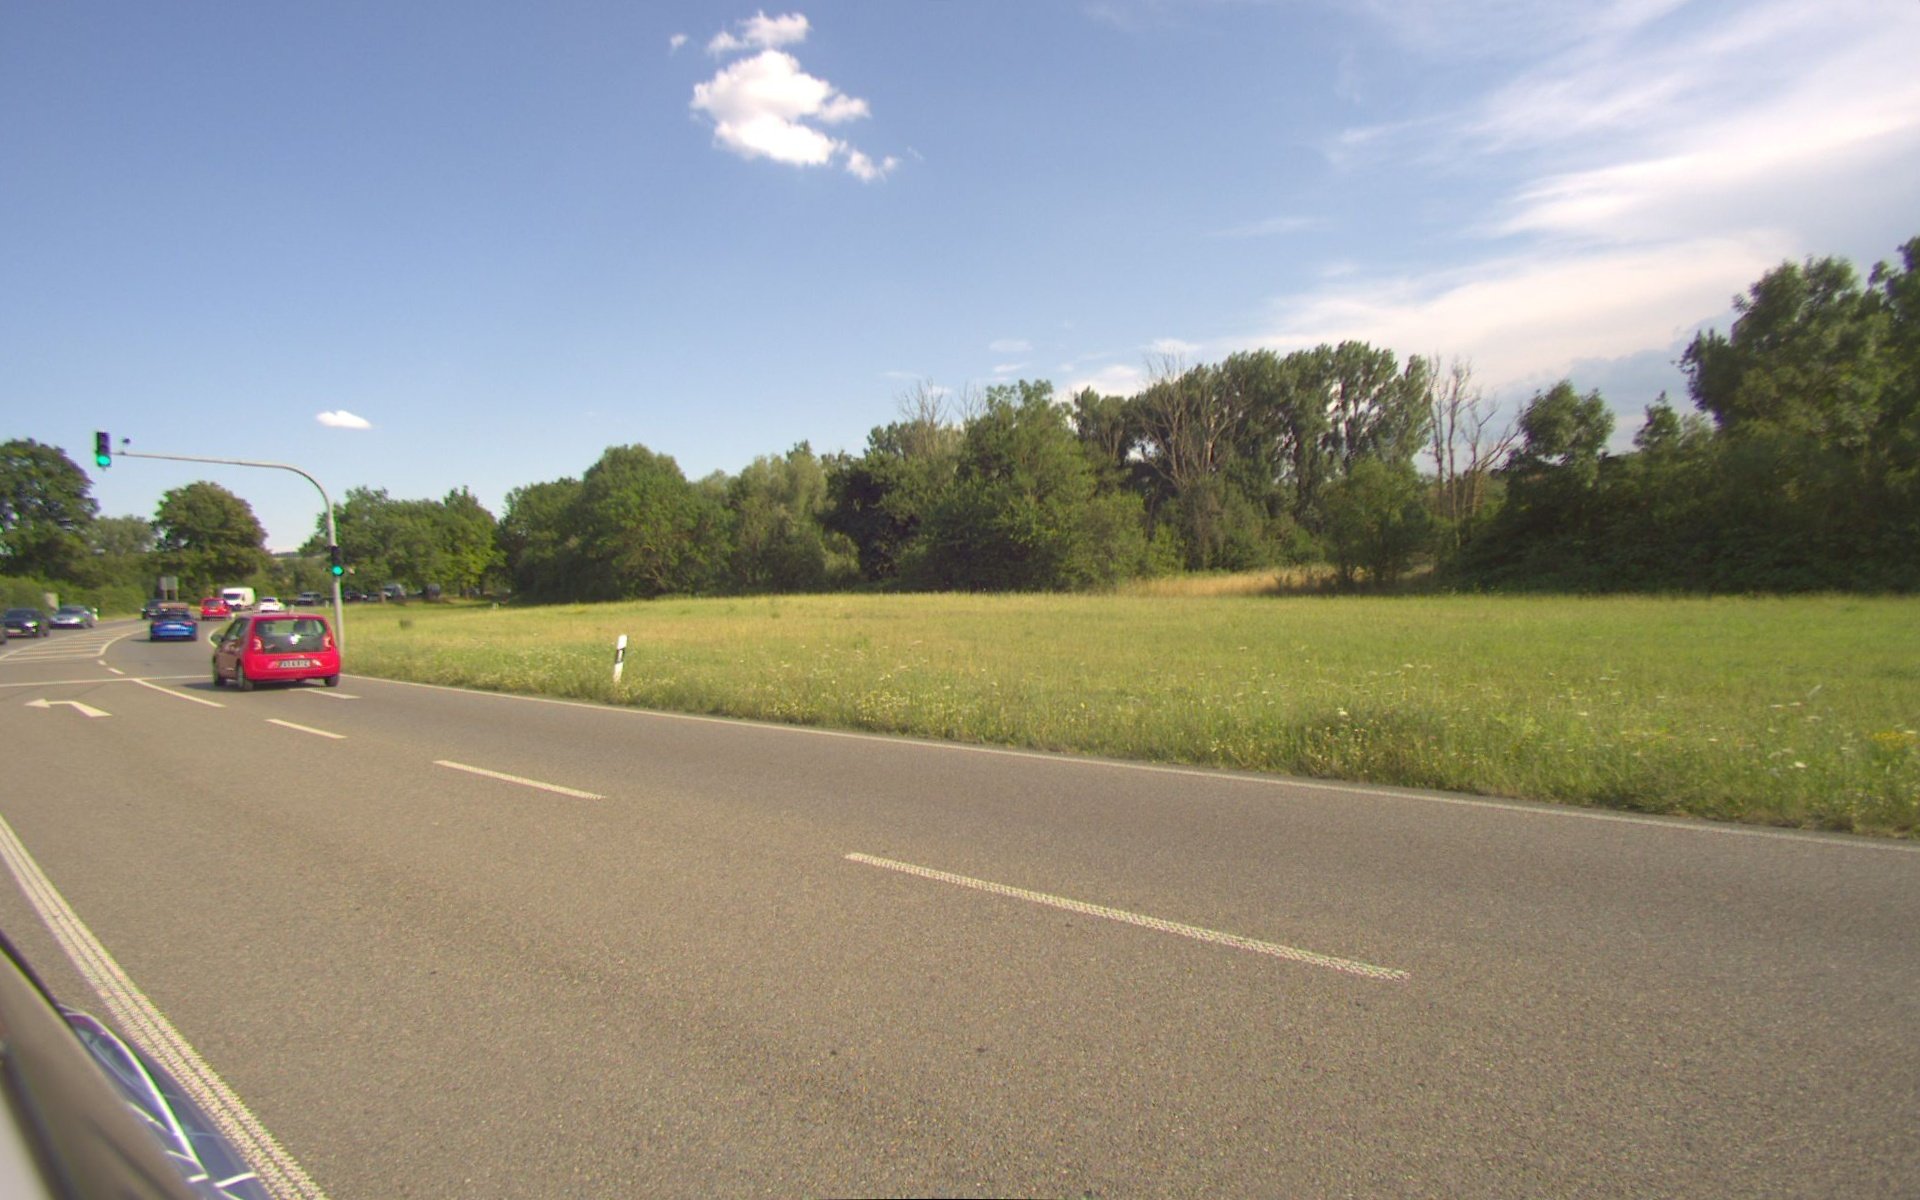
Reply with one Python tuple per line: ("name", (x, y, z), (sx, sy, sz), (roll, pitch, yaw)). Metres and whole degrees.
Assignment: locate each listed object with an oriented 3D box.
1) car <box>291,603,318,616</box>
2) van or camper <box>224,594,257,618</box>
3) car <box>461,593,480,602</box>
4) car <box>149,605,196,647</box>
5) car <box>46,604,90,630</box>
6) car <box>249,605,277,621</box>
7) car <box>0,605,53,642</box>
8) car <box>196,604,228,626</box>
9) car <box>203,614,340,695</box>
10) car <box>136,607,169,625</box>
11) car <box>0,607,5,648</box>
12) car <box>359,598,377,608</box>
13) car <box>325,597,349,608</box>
("car", (-89.768, 1.316, 138.659), (1.966, 1.563, 4.012), (-3, 2, -16))
("van or camper", (-79.850, 0.659, 112.402), (2.000, 2.494, 5.094), (-3, 1, -25))
("car", (-93.181, -0.484, 192.732), (1.905, 1.598, 4.076), (0, 0, -2))
("car", (-37.415, 1.244, 48.045), (1.702, 1.897, 4.343), (1, -2, -39))
("car", (-56.246, 1.039, 63.850), (1.608, 1.570, 3.426), (1, 0, -34))
("car", (-74.614, 1.390, 108.388), (1.854, 1.598, 4.344), (0, -1, -27))
("car", (-47.094, 1.163, 51.052), (1.648, 1.741, 3.676), (0, 0, -37))
("car", (-60.901, 1.245, 82.446), (1.855, 1.789, 4.333), (0, -1, -33))
("car", (-13.814, 1.039, 20.230), (3.608, 1.478, 1.568), (-2, -2, 44))
("car", (-68.603, 1.351, 86.012), (1.581, 1.490, 3.627), (1, -1, -30))
("car", (-41.191, 1.184, 42.113), (1.667, 1.741, 3.676), (0, 0, -37))
("car", (-89.944, 0.400, 153.861), (1.721, 1.477, 3.490), (0, 0, -19))
("car", (-94.669, 0.379, 153.842), (1.966, 1.563, 4.012), (-3, 2, -16))
